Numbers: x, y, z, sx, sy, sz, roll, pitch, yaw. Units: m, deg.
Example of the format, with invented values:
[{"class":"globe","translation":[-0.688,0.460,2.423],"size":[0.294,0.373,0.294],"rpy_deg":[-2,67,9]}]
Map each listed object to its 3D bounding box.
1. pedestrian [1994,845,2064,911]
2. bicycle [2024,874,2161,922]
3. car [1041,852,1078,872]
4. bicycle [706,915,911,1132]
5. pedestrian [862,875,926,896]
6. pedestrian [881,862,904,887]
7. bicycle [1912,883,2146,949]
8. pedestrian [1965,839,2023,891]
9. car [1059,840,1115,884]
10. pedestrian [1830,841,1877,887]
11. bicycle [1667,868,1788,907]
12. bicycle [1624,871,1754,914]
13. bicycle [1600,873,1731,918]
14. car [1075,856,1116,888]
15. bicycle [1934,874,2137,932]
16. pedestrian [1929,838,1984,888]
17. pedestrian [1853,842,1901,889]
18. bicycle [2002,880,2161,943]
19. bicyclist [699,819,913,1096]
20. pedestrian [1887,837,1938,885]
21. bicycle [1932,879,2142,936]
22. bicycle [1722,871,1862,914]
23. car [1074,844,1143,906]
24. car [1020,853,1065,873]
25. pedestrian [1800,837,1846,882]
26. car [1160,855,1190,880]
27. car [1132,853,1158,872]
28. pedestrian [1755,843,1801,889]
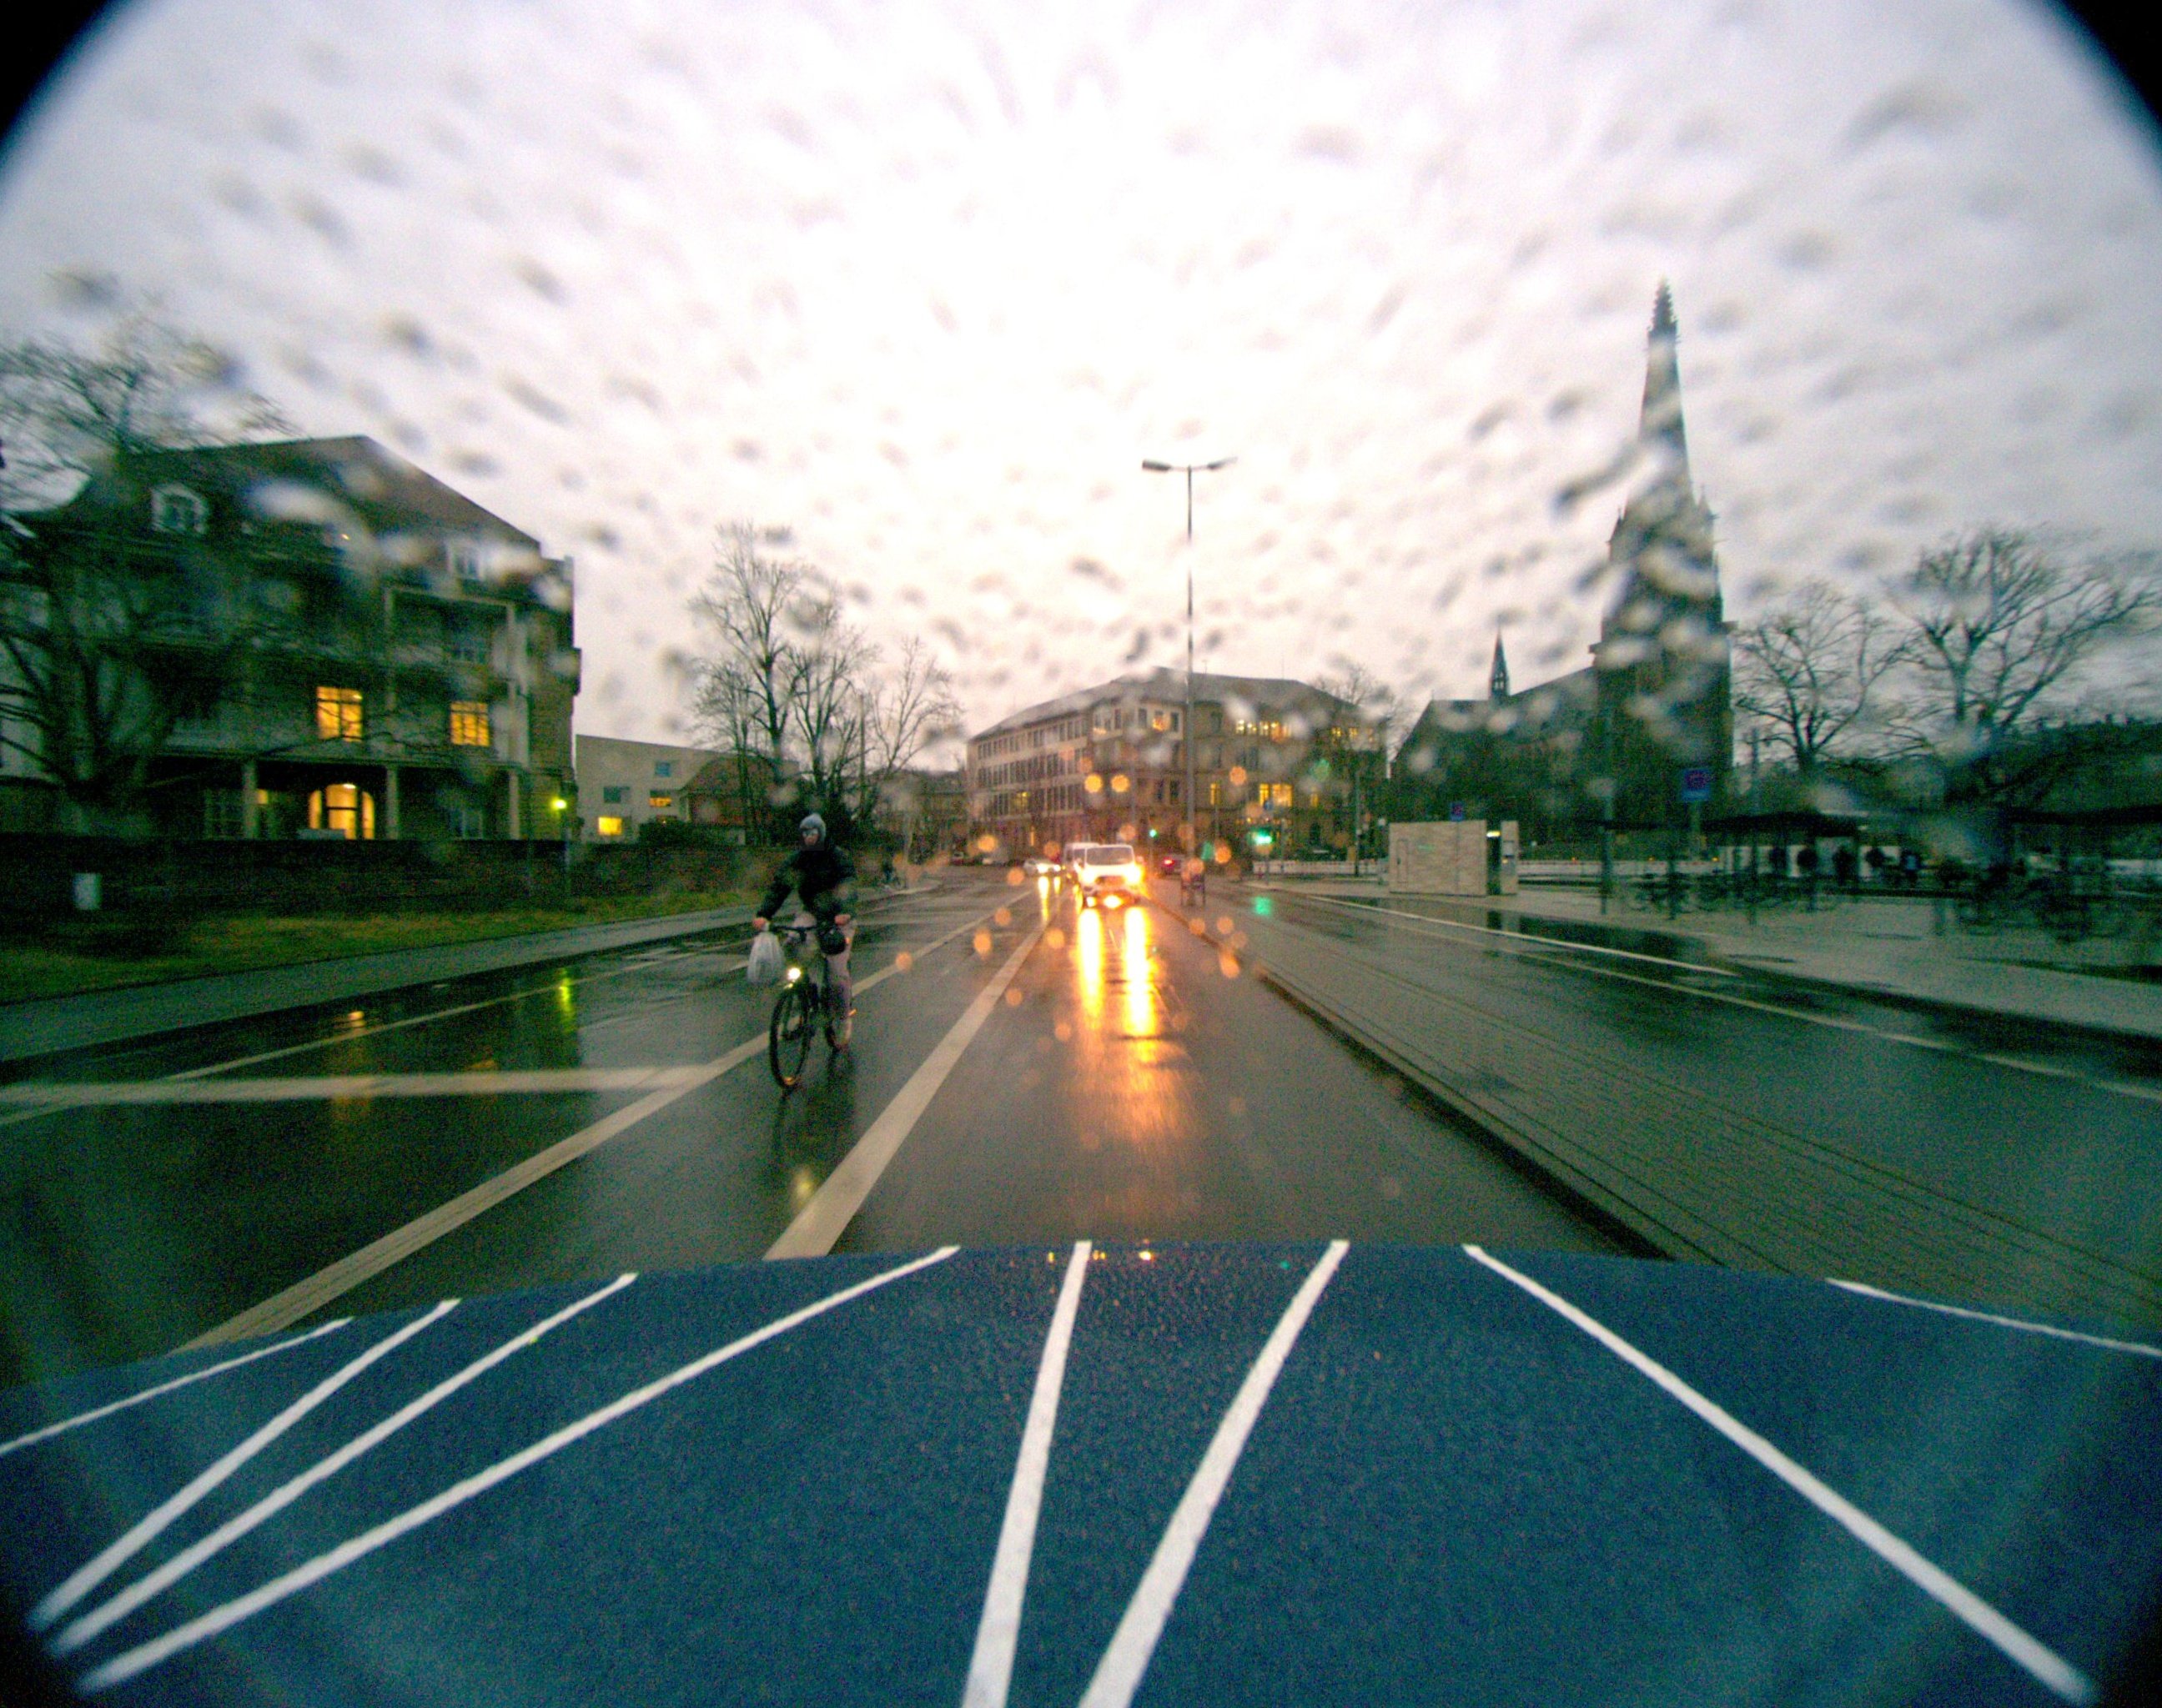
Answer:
[{"class":"pedestrian","translation":[25.490,0.634,20.448],"size":[0.815,1.672,0.848],"rpy_deg":[-4,3,1]},{"class":"bicycle","translation":[24.779,1.034,17.883],"size":[0.796,1.043,3.186],"rpy_deg":[-1,1,-35]},{"class":"car","translation":[-2.283,0.847,79.340],"size":[2.145,1.999,4.560],"rpy_deg":[0,0,-28]},{"class":"bicycle","translation":[-2.003,1.194,5.945],"size":[0.794,1.216,1.904],"rpy_deg":[-1,2,4]},{"class":"pedestrian","translation":[-9.867,1.645,40.204],"size":[3.104,0.925,0.946],"rpy_deg":[-3,0,-29]},{"class":"pedestrian","translation":[-9.965,1.091,40.180],"size":[0.984,1.309,0.813],"rpy_deg":[0,1,-29]},{"class":"bicycle","translation":[18.120,1.136,14.645],"size":[0.648,1.098,2.744],"rpy_deg":[-3,0,-30]},{"class":"pedestrian","translation":[33.071,0.392,27.537],"size":[1.034,1.839,0.848],"rpy_deg":[-3,1,1]},{"class":"car","translation":[0.284,0.479,47.928],"size":[2.348,2.503,5.862],"rpy_deg":[-3,0,-10]},{"class":"pedestrian","translation":[31.479,0.416,30.990],"size":[1.034,1.839,0.848],"rpy_deg":[0,1,1]},{"class":"bicycle","translation":[19.831,0.997,23.405],"size":[0.648,1.098,2.744],"rpy_deg":[-3,0,-33]},{"class":"bicycle","translation":[16.790,1.036,21.084],"size":[0.648,1.098,2.744],"rpy_deg":[-3,0,-30]},{"class":"bicycle","translation":[15.719,1.085,20.555],"size":[0.648,1.098,2.744],"rpy_deg":[-3,0,-30]},{"class":"car","translation":[0.699,0.900,39.566],"size":[1.755,1.495,4.316],"rpy_deg":[-2,0,-3]},{"class":"bicycle","translation":[20.892,1.039,16.753],"size":[0.648,1.098,2.743],"rpy_deg":[-3,2,-40]},{"class":"pedestrian","translation":[33.023,0.331,28.660],"size":[1.034,1.839,0.848],"rpy_deg":[-3,1,1]},{"class":"pedestrian","translation":[31.513,0.442,30.086],"size":[1.034,1.839,0.802],"rpy_deg":[1,1,1]},{"class":"bicycle","translation":[19.670,1.063,14.400],"size":[0.648,1.098,2.744],"rpy_deg":[-3,0,-30]},{"class":"bicyclist","translation":[-2.007,0.683,5.776],"size":[1.026,1.873,1.236],"rpy_deg":[0,2,7]},{"class":"pedestrian","translation":[32.734,0.264,29.910],"size":[1.034,1.839,0.848],"rpy_deg":[-3,1,1]},{"class":"bicycle","translation":[20.288,1.103,16.257],"size":[0.648,1.098,2.743],"rpy_deg":[-3,0,-40]},{"class":"bicycle","translation":[19.774,1.034,21.229],"size":[0.648,1.098,2.744],"rpy_deg":[-3,0,-30]},{"class":"car","translation":[0.935,0.677,26.973],"size":[2.136,1.910,5.017],"rpy_deg":[-2,0,1]},{"class":"car","translation":[-3.153,0.741,61.728],"size":[1.792,1.536,4.109],"rpy_deg":[-2,0,-34]},{"class":"pedestrian","translation":[31.135,0.220,31.894],"size":[1.034,1.839,0.848],"rpy_deg":[0,1,1]},{"class":"car","translation":[6.262,0.862,51.086],"size":[1.677,1.586,4.001],"rpy_deg":[-1,0,3]},{"class":"car","translation":[5.555,0.714,66.165],"size":[1.678,1.586,3.998],"rpy_deg":[-1,0,-4]},{"class":"pedestrian","translation":[29.654,0.516,32.325],"size":[1.049,1.839,0.848],"rpy_deg":[-4,0,1]}]
